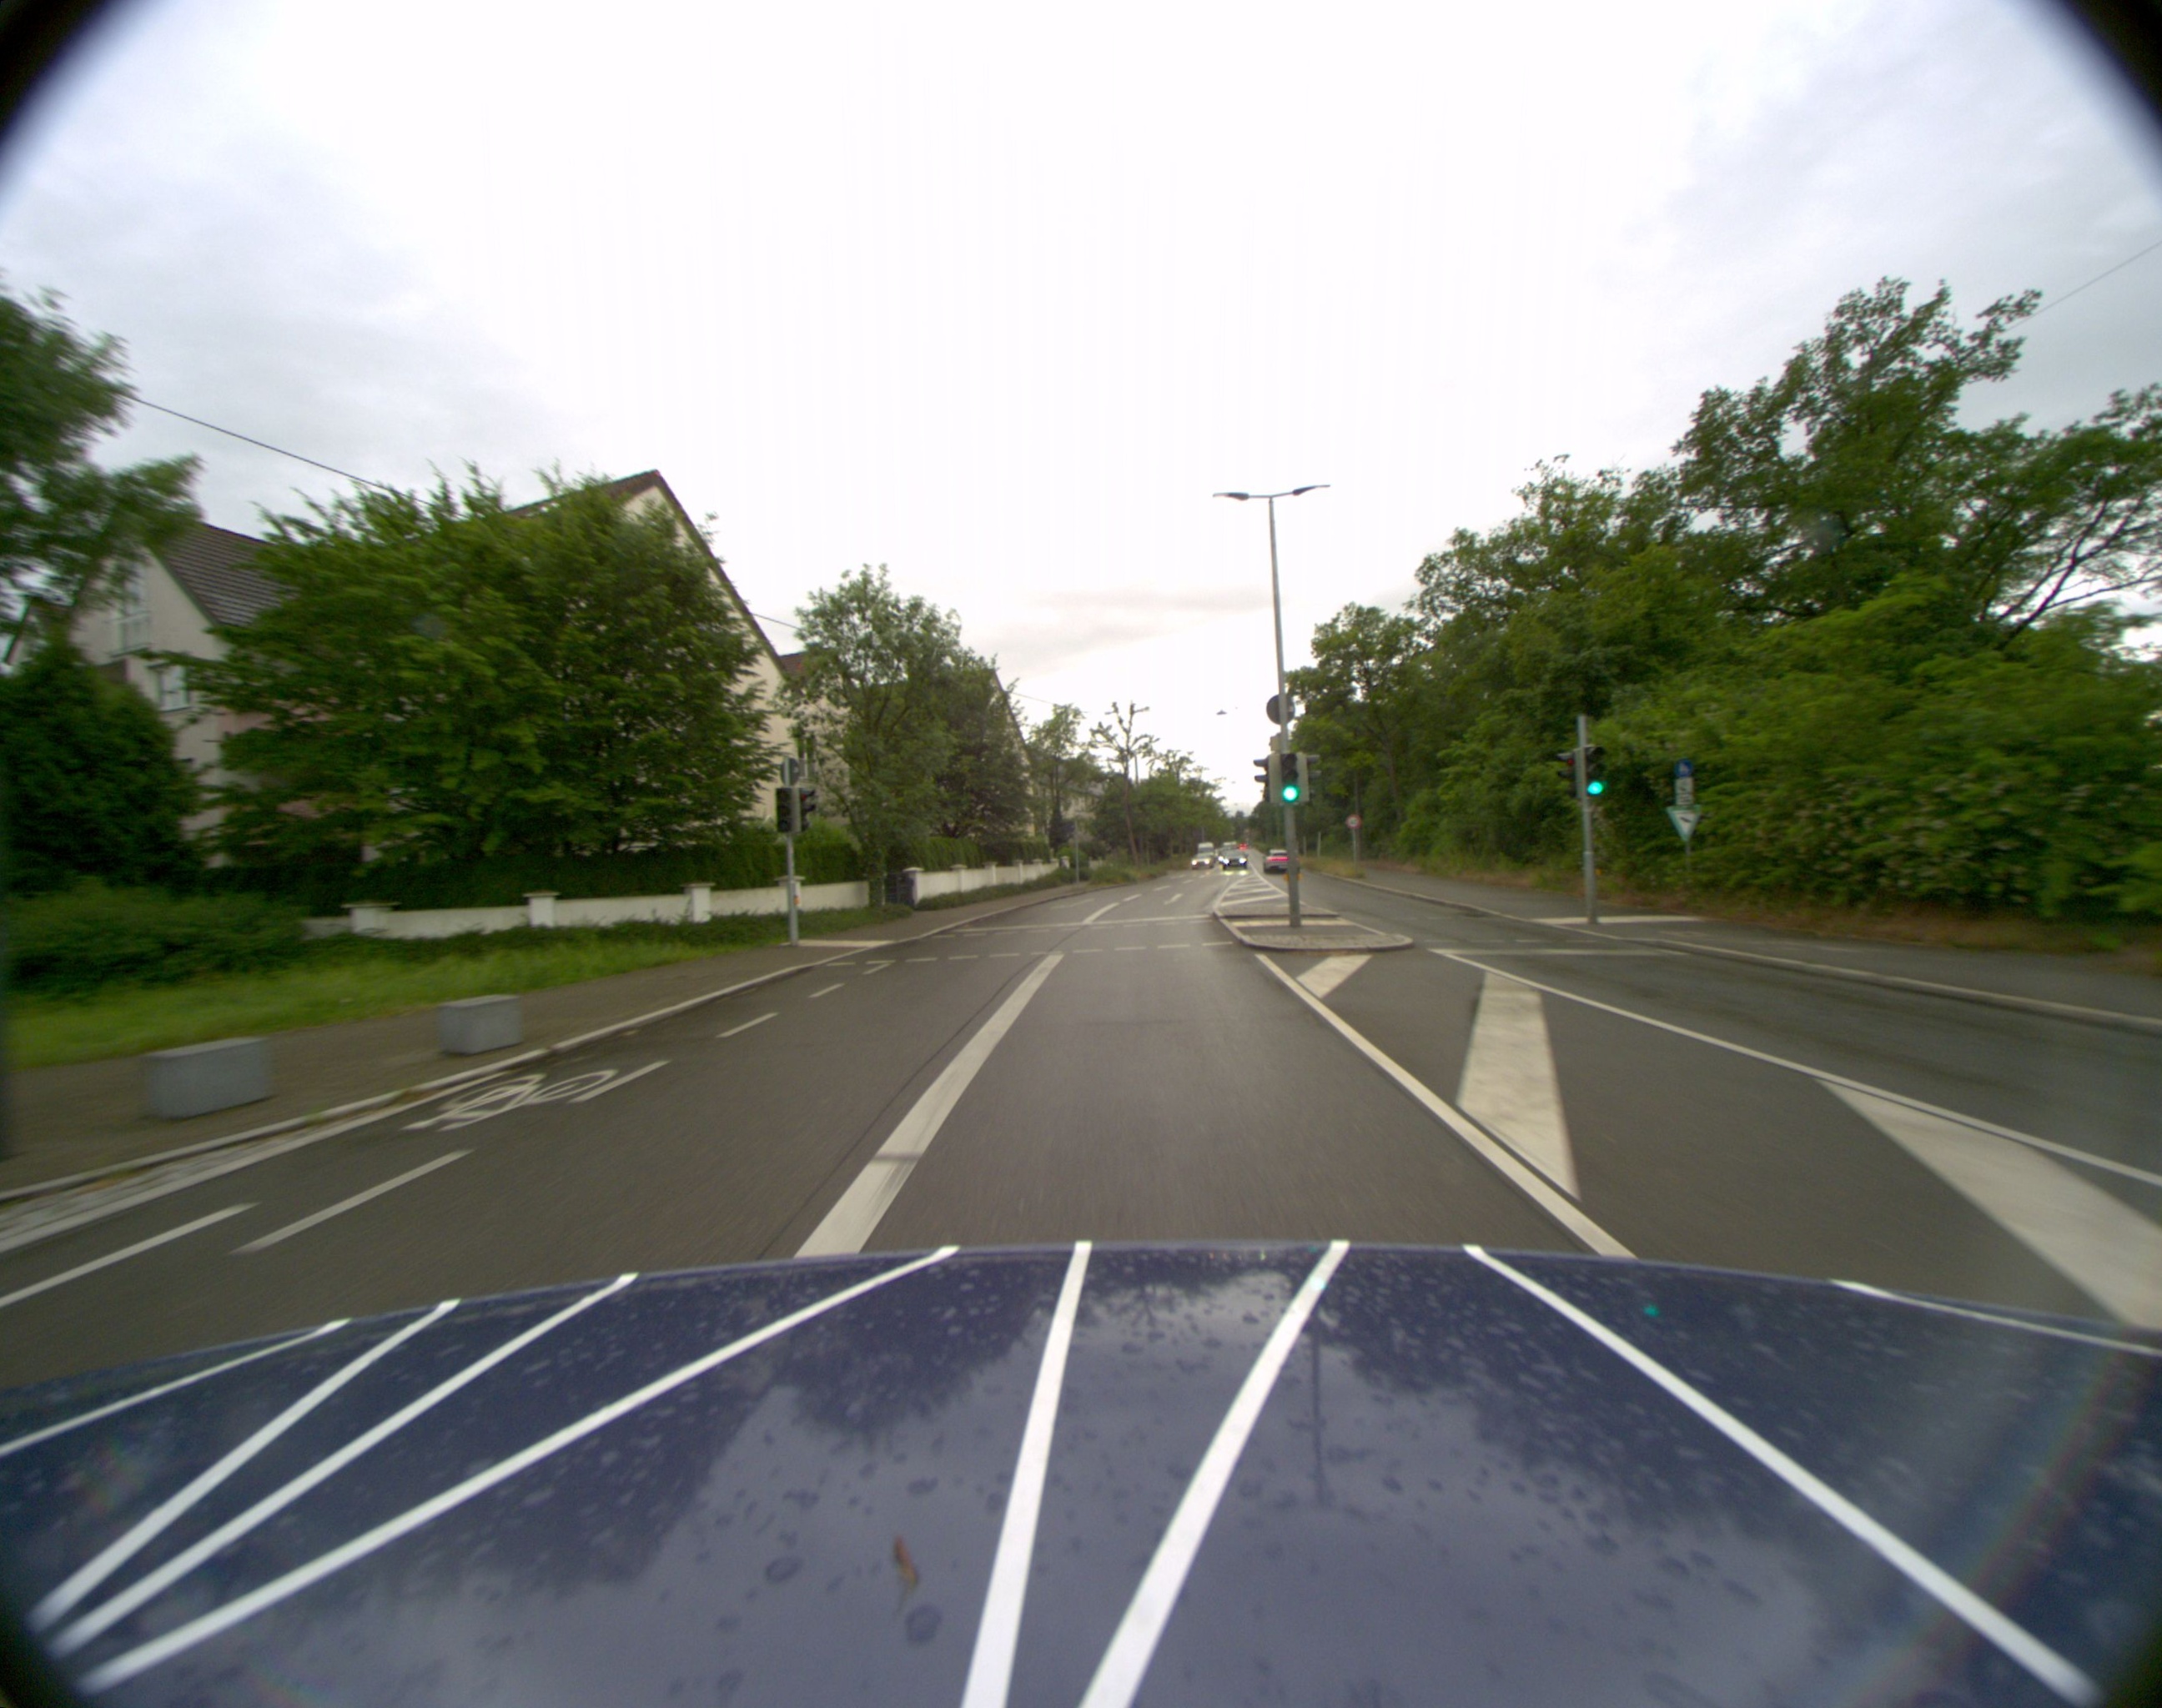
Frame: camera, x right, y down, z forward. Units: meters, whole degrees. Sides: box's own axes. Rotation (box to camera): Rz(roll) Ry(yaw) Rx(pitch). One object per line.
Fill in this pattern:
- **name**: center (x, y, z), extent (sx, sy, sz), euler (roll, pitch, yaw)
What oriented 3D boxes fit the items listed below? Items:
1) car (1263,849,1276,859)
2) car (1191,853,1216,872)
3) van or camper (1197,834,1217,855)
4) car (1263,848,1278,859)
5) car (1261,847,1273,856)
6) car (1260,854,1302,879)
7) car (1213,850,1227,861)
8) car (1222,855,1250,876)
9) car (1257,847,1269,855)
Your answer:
- **car**: center (31.726, 0.030, 127.807), extent (1.943, 1.593, 4.608), euler (-1, 0, 11)
- **car**: center (10.688, 0.737, 66.168), extent (1.943, 1.593, 4.608), euler (-1, 0, 11)
- **van or camper**: center (15.682, -1.159, 94.108), extent (1.996, 2.438, 4.726), euler (-3, 0, 14)
- **car**: center (29.766, -0.106, 119.471), extent (1.943, 1.593, 4.608), euler (-1, 0, 11)
- **car**: center (32.769, -0.477, 134.073), extent (1.943, 1.593, 4.608), euler (-1, 0, 11)
- **car**: center (11.992, 0.703, 45.728), extent (1.943, 1.368, 4.607), euler (-1, 0, 9)
- **car**: center (20.590, 0.254, 112.307), extent (1.943, 1.593, 4.608), euler (-1, 0, 11)
- **car**: center (11.547, 0.843, 56.749), extent (1.943, 1.446, 4.607), euler (-1, 0, 10)
- **car**: center (34.822, -0.579, 145.454), extent (1.943, 1.593, 4.608), euler (-1, 0, 11)
